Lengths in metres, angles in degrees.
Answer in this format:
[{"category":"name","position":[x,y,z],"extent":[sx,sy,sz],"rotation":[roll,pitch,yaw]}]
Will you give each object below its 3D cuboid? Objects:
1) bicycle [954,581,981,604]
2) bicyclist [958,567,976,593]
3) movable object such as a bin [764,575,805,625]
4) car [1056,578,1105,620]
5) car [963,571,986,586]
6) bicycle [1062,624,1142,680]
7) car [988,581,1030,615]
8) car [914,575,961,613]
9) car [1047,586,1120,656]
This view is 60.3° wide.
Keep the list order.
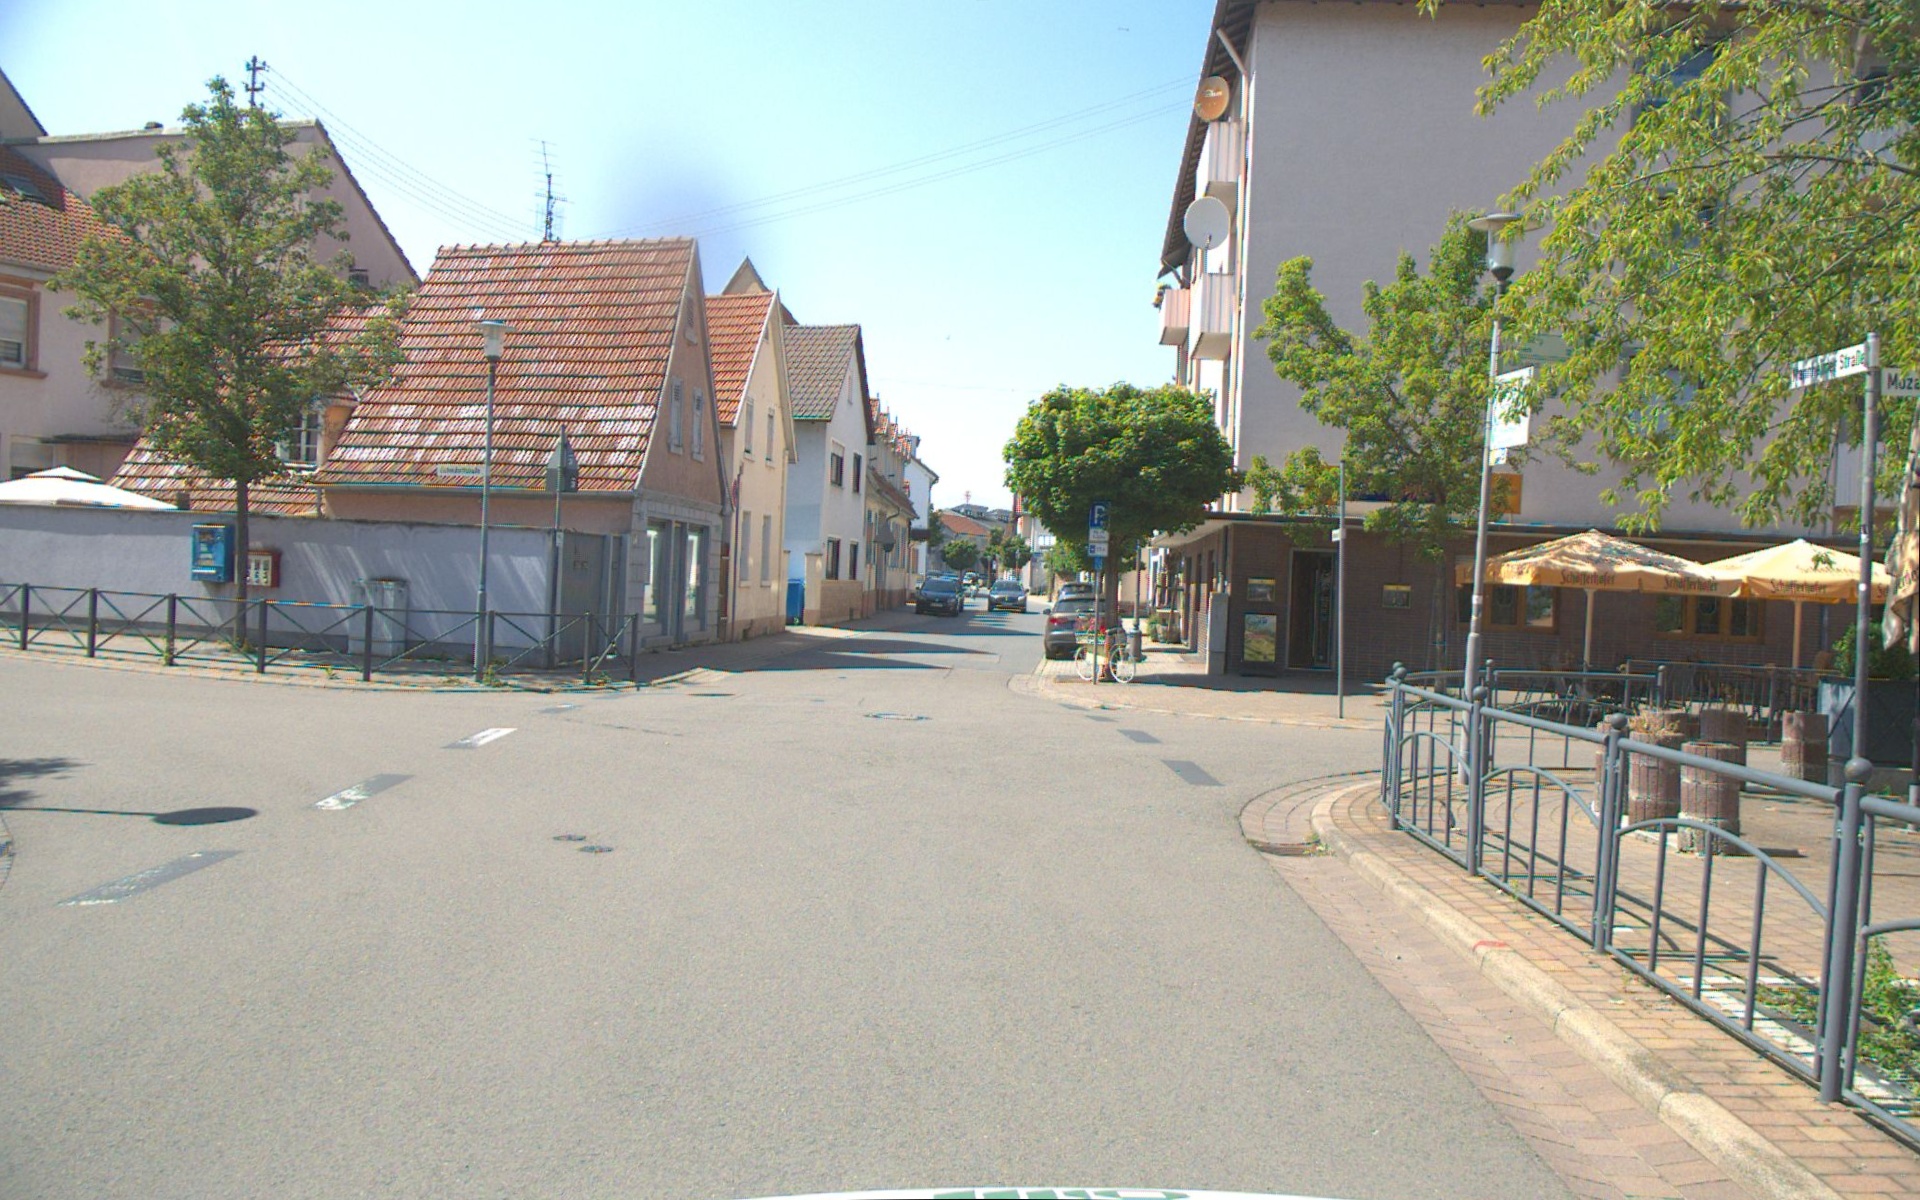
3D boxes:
[{"category":"bicycle","position":[0.472,-0.517,107.182],"extent":[1.591,1.394,3.924],"rotation":[2,1,-2]},{"category":"bicyclist","position":[0.453,-1.279,107.255],"extent":[1.025,1.666,1.128],"rotation":[2,0,-2]},{"category":"movable object such as a bin","position":[-5.043,-0.009,47.545],"extent":[1.078,1.389,0.390],"rotation":[2,0,7]},{"category":"car","position":[5.159,-0.072,71.238],"extent":[2.000,1.718,4.844],"rotation":[2,1,4]},{"category":"car","position":[1.701,-2.526,193.337],"extent":[1.984,1.626,4.513],"rotation":[2,1,10]},{"category":"bicycle","position":[2.462,0.891,28.811],"extent":[1.388,0.912,0.462],"rotation":[1,1,41]},{"category":"car","position":[2.332,-0.069,78.738],"extent":[1.869,1.507,4.845],"rotation":[2,0,2]},{"category":"car","position":[-0.906,-0.267,68.754],"extent":[1.628,1.501,4.136],"rotation":[2,1,3]},{"category":"car","position":[2.827,0.442,37.434],"extent":[1.542,1.479,3.488],"rotation":[2,0,5]}]
